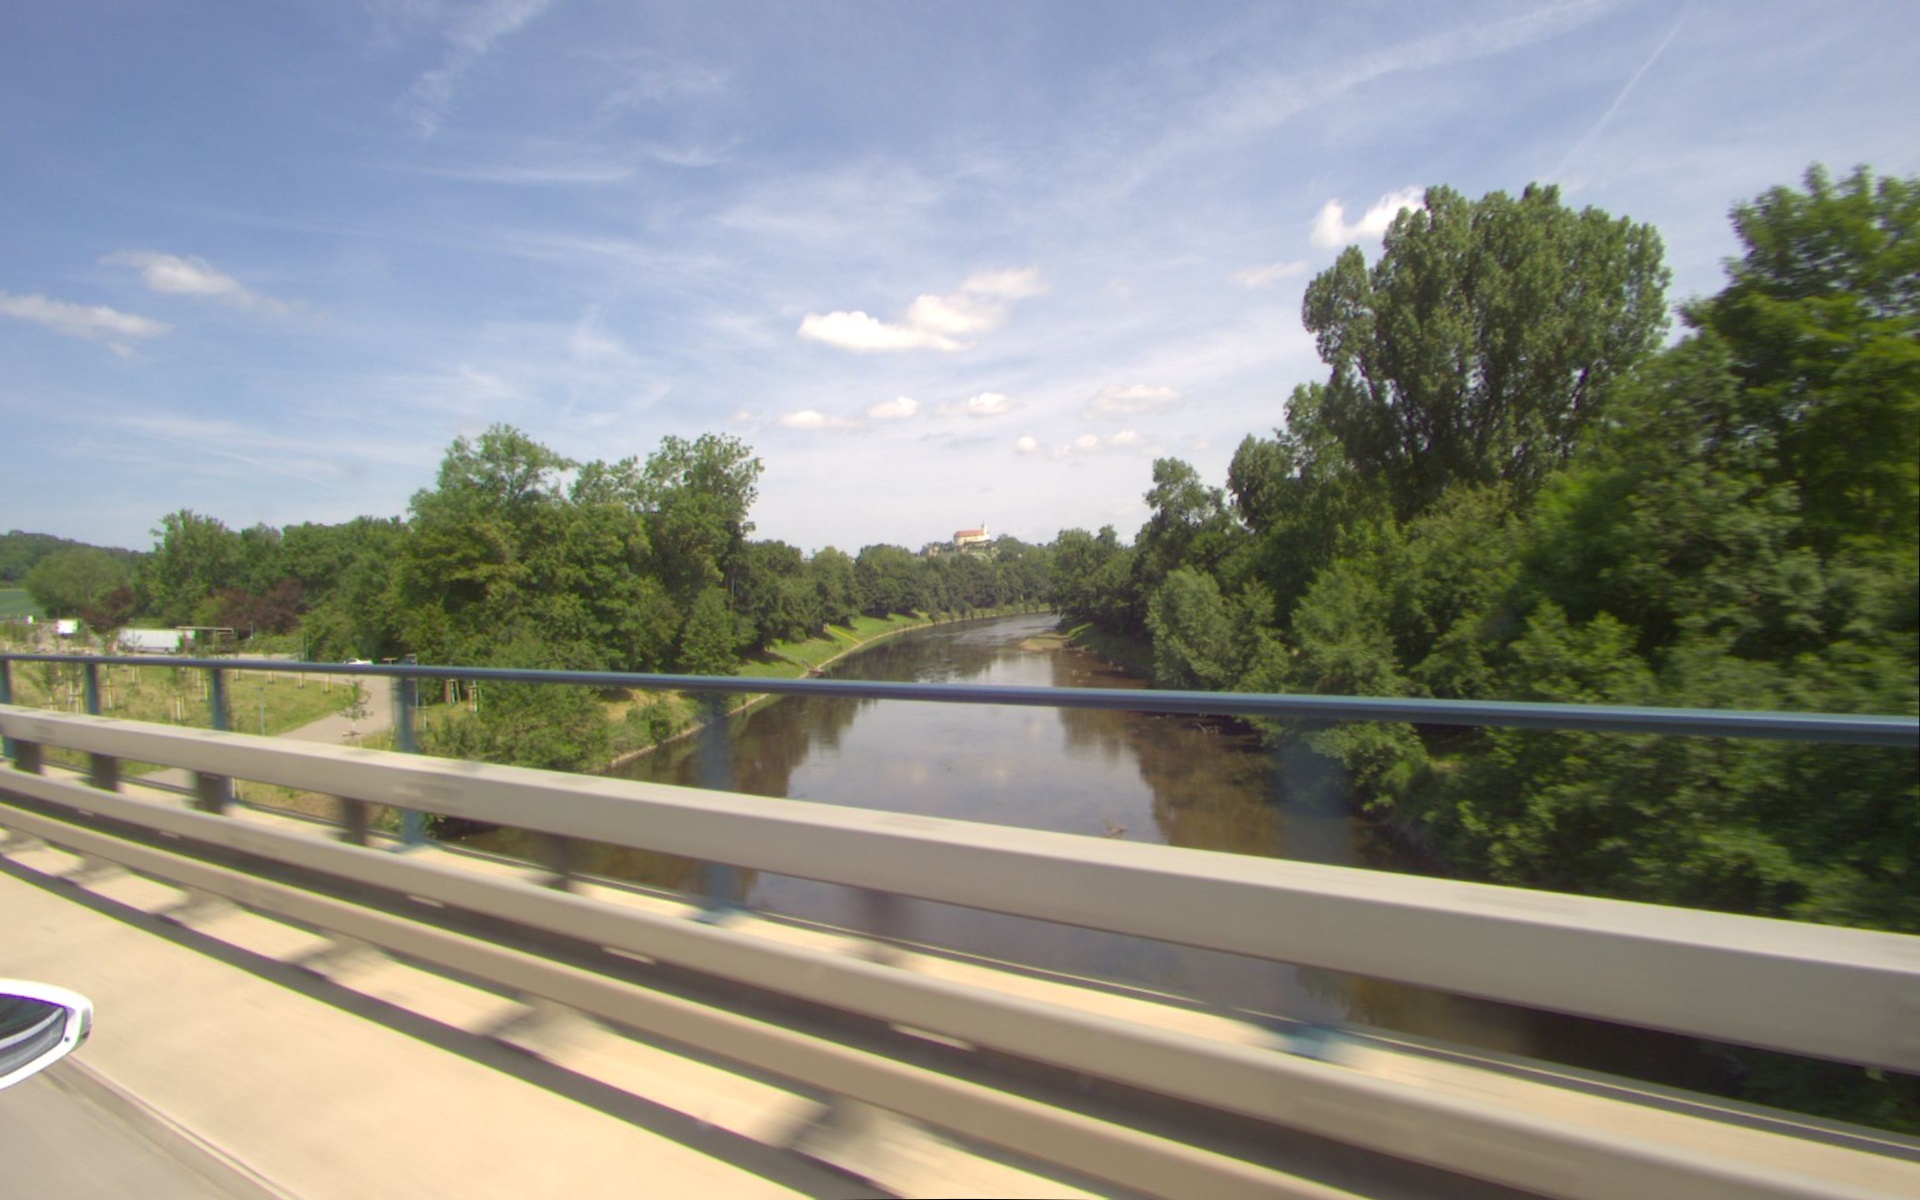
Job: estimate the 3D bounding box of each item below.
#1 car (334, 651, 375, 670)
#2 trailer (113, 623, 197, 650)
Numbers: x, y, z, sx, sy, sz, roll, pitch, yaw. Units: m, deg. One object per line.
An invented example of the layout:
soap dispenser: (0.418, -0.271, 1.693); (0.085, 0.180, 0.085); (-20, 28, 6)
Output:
car: (-60.773, 6.063, 100.464); (4.547, 1.503, 1.850); (0, 3, 36)
trailer: (-109.694, 4.943, 136.452); (11.678, 3.371, 2.724); (0, 0, 17)
